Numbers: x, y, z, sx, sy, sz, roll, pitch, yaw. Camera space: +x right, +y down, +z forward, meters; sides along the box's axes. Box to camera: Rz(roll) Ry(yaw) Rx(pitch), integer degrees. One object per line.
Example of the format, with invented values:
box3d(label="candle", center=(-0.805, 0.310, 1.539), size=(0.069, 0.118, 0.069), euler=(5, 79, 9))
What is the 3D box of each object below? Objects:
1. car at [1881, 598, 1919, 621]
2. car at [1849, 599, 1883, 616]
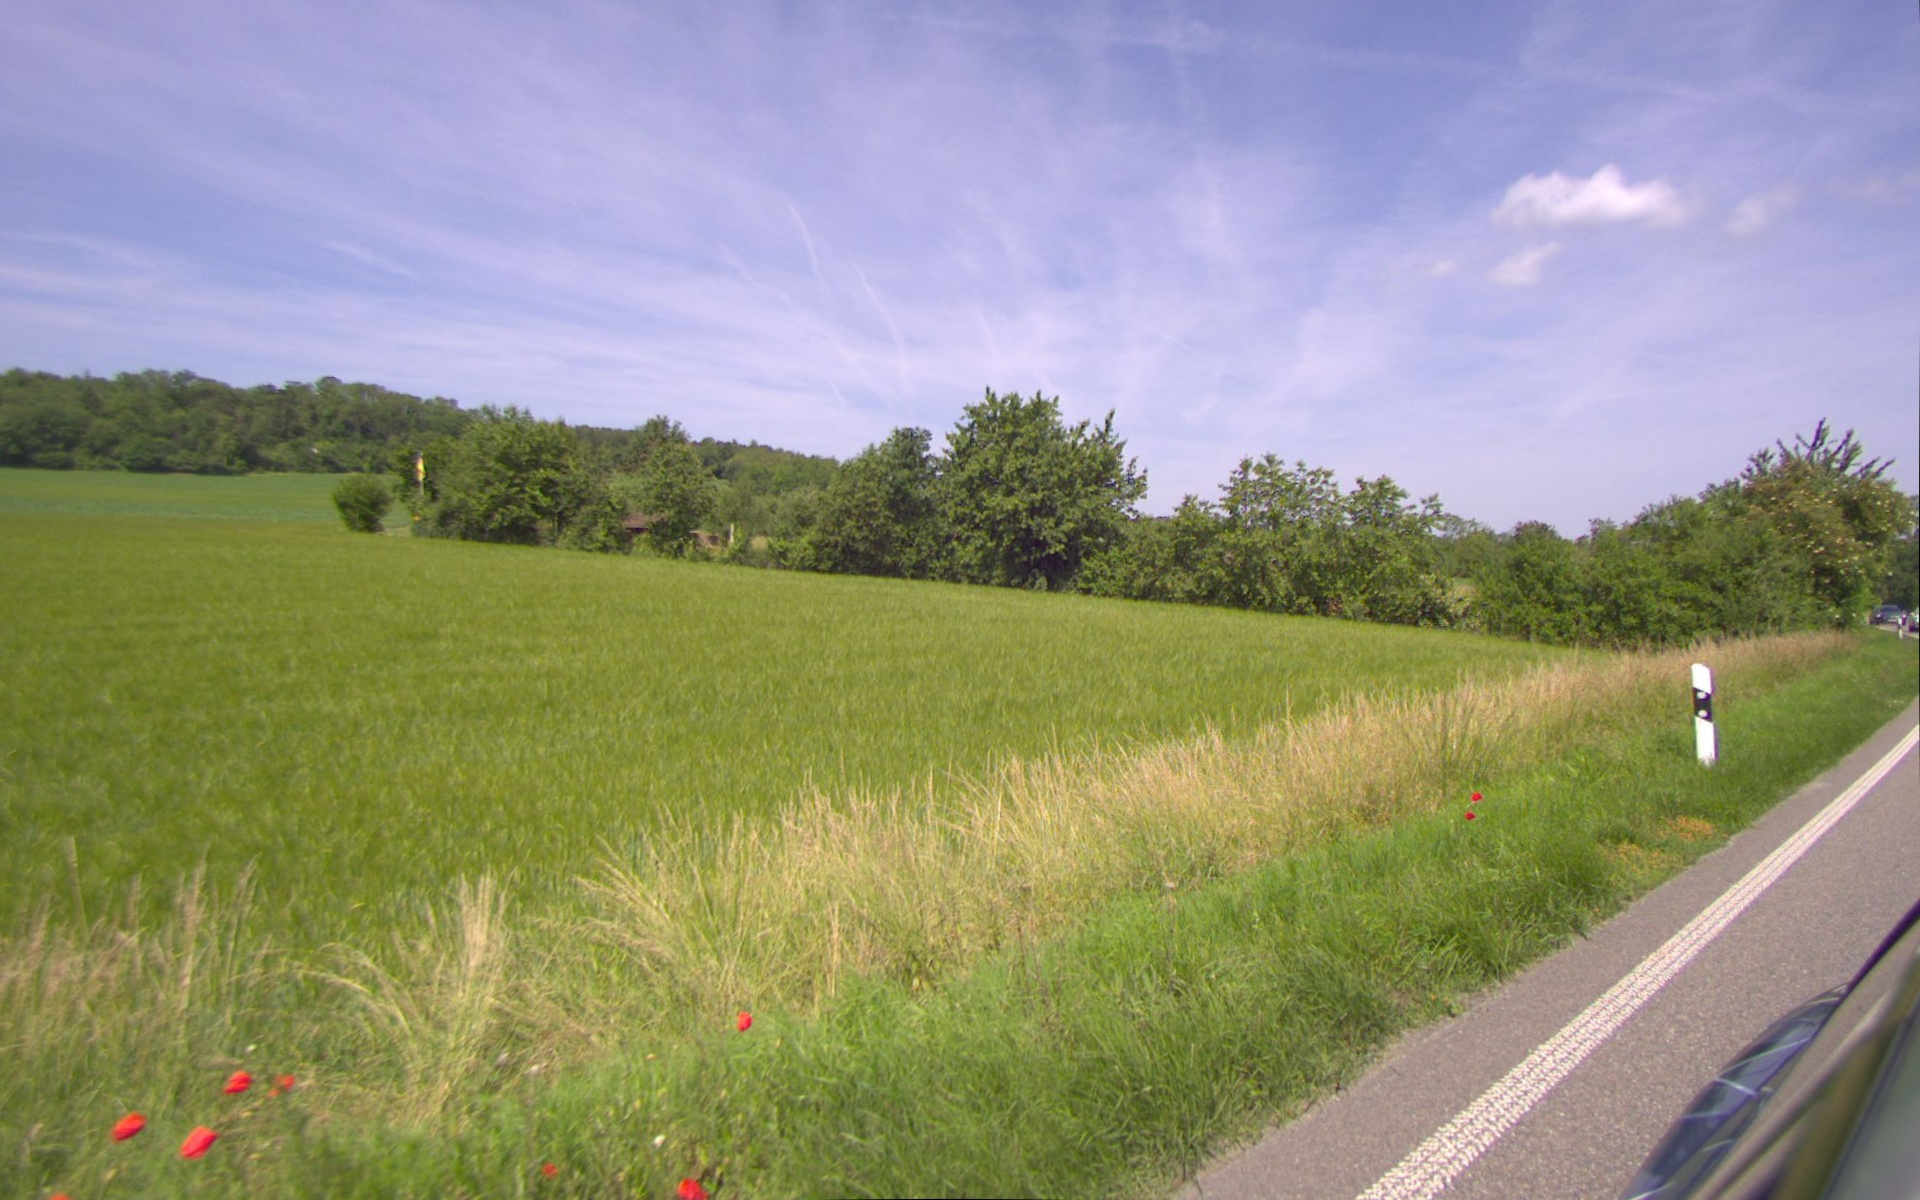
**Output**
box3d(label="car", center=(71.301, 0.691, 76.655), size=(1.922, 1.467, 4.020), euler=(4, 4, 39))
box3d(label="car", center=(84.253, 0.701, 94.162), size=(1.919, 1.468, 3.948), euler=(3, 2, 36))
